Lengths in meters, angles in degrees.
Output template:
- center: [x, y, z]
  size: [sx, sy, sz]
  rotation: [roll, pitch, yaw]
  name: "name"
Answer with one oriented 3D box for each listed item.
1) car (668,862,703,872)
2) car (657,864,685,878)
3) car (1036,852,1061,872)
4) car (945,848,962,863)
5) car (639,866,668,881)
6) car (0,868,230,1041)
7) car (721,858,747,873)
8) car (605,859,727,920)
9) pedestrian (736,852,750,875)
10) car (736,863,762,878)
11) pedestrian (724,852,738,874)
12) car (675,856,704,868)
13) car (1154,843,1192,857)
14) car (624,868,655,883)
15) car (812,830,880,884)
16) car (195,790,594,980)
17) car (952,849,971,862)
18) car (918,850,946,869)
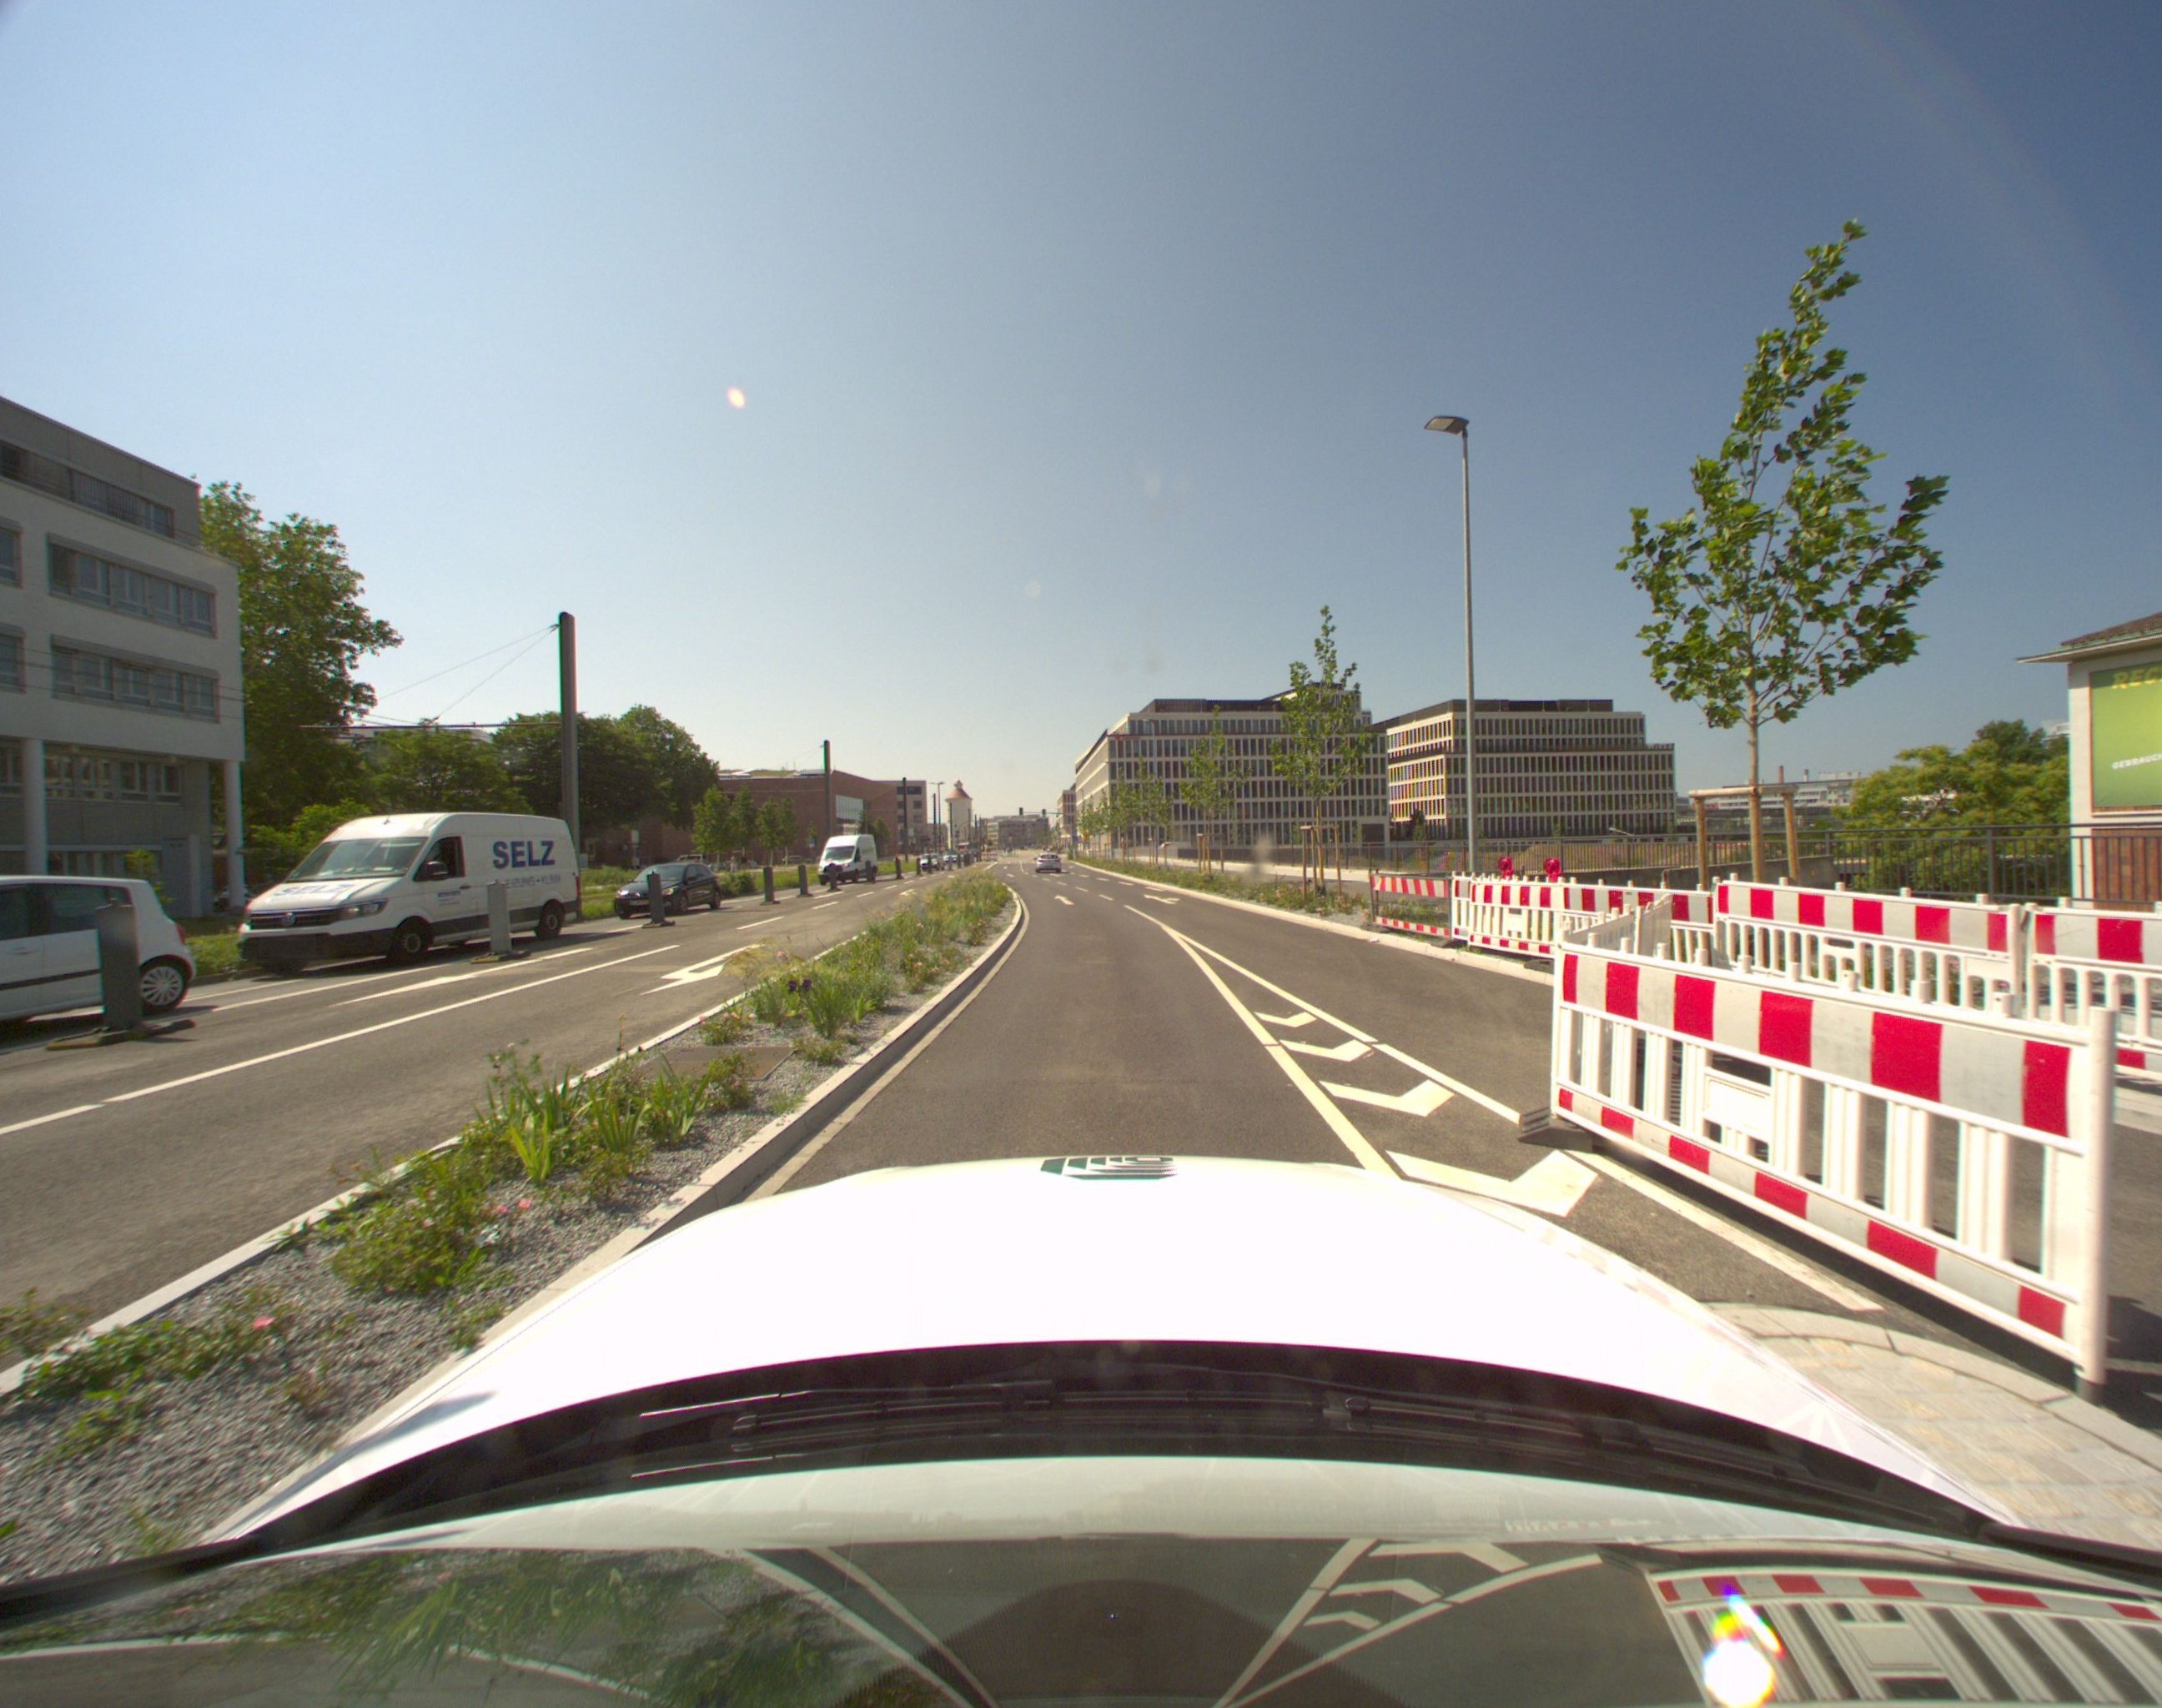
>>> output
- center: [-56.437, 1.869, 116.294]
  size: [3.973, 1.403, 2.000]
  rotation: [-1, 0, 0]
  name: "car"
- center: [-47.694, 1.978, 94.868]
  size: [1.535, 1.457, 3.782]
  rotation: [-1, 1, -4]
  name: "car"
- center: [-2.392, 0.571, 59.576]
  size: [1.767, 1.395, 3.528]
  rotation: [0, -1, -3]
  name: "car"
- center: [-13.854, 0.202, 88.624]
  size: [1.579, 1.530, 3.612]
  rotation: [-4, 0, -7]
  name: "car"
- center: [-46.856, 2.111, 89.308]
  size: [1.537, 1.457, 3.778]
  rotation: [-1, 1, -7]
  name: "car"
- center: [-10.725, 0.992, 7.541]
  size: [1.577, 1.541, 3.972]
  rotation: [-4, 0, -4]
  name: "car"
- center: [-41.407, 1.372, 97.272]
  size: [1.695, 1.761, 3.934]
  rotation: [-1, 0, -4]
  name: "car"
- center: [-11.888, 0.950, 23.662]
  size: [1.542, 1.457, 4.187]
  rotation: [-4, 0, -4]
  name: "car"
- center: [-30.739, 0.859, 74.070]
  size: [0.980, 2.013, 0.909]
  rotation: [0, 0, -2]
  name: "pedestrian"
- center: [-42.103, 2.062, 103.299]
  size: [1.695, 1.761, 4.295]
  rotation: [-1, 0, -4]
  name: "car"
- center: [-31.791, 0.826, 74.046]
  size: [0.837, 2.013, 0.983]
  rotation: [0, 0, -2]
  name: "pedestrian"
- center: [-59.542, 1.235, 123.949]
  size: [3.536, 1.689, 1.691]
  rotation: [-1, 1, -5]
  name: "car"
- center: [14.759, -0.659, 131.392]
  size: [5.826, 2.270, 2.143]
  rotation: [1, 0, -5]
  name: "car"
- center: [-45.974, 2.204, 84.879]
  size: [1.537, 1.457, 3.777]
  rotation: [-1, 0, -8]
  name: "car"
- center: [-13.238, 0.160, 46.267]
  size: [2.071, 2.740, 5.983]
  rotation: [-3, 0, -1]
  name: "car"
- center: [-11.634, 0.435, 14.725]
  size: [2.026, 2.578, 6.188]
  rotation: [-4, 0, -3]
  name: "car"
- center: [-14.671, 0.185, 99.990]
  size: [1.575, 1.416, 4.296]
  rotation: [-2, 0, 0]
  name: "car"
- center: [-12.536, 0.449, 68.915]
  size: [1.670, 1.443, 4.464]
  rotation: [-3, 0, -3]
  name: "car"
